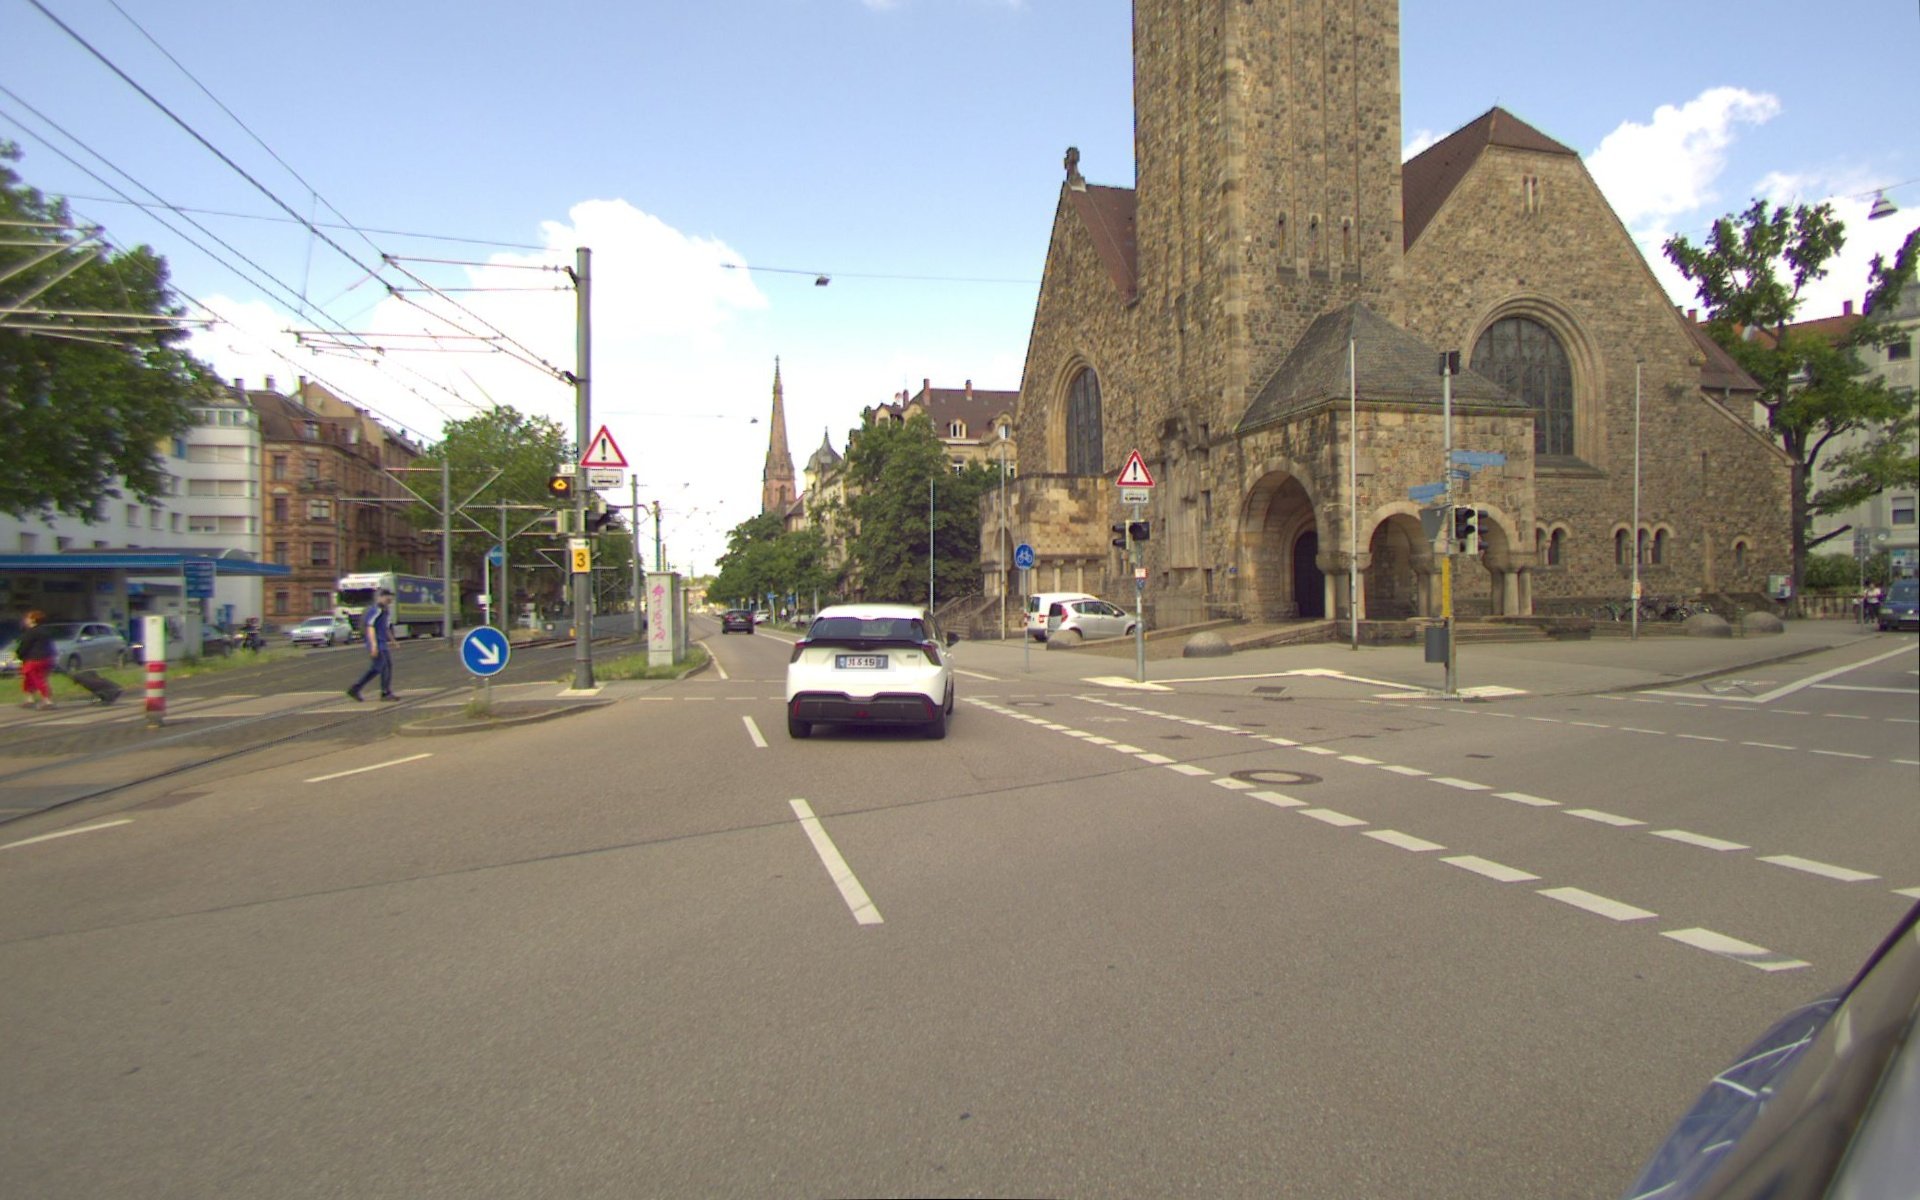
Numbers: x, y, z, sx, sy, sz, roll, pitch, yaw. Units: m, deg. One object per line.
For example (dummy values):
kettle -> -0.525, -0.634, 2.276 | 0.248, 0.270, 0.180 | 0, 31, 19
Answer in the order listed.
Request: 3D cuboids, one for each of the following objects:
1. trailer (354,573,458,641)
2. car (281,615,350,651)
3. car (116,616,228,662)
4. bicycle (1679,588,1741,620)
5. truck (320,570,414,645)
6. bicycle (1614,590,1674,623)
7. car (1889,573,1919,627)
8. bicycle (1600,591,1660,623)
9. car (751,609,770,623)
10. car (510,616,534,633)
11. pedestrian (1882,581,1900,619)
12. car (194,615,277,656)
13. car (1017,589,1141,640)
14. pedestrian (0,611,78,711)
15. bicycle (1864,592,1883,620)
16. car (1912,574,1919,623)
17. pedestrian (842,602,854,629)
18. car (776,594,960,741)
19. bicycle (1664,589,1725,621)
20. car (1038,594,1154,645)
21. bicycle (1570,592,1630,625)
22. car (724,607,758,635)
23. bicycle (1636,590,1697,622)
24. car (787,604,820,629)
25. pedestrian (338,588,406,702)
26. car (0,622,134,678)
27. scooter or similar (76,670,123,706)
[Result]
trailer -> -36.918, 0.426, 67.999 | 2.857, 4.129, 11.672 | -1, 0, -12
car -> -33.587, 1.691, 52.875 | 1.816, 1.727, 4.142 | -1, 0, -14
car -> -29.018, 1.397, 37.431 | 1.816, 1.465, 3.981 | -1, 0, -14
bicycle -> 29.163, 0.144, 39.378 | 0.574, 1.126, 1.944 | -1, 3, -19
truck -> -35.323, 0.403, 60.591 | 2.857, 4.201, 6.602 | -1, 0, -12
bicycle -> 25.997, 0.231, 38.499 | 0.574, 1.126, 1.944 | -1, 3, -19
car -> 33.905, -0.030, 35.264 | 4.071, 1.814, 1.682 | -1, -1, -39
bicycle -> 25.327, 0.250, 38.291 | 0.574, 1.126, 1.944 | -1, 3, -19
car -> -20.233, 1.624, 102.619 | 1.621, 1.249, 3.069 | -2, -1, -15
car -> -47.122, 2.593, 108.953 | 1.766, 1.651, 4.008 | -1, 0, -15
pedestrian -> 36.600, 0.001, 39.797 | 0.547, 1.474, 0.465 | 0, -1, -45
car -> -30.720, 1.472, 43.029 | 1.651, 1.583, 3.760 | -1, 0, -15
car -> 4.532, 0.581, 38.763 | 4.214, 1.878, 2.003 | 0, -2, -16
pedestrian -> -14.379, 0.928, 15.790 | 0.760, 1.511, 0.659 | 1, -2, -28
bicycle -> 36.262, 0.231, 40.153 | 0.479, 1.065, 1.420 | -2, -1, 44
car -> 37.690, -0.095, 38.453 | 3.928, 1.814, 1.682 | -1, -1, -39
pedestrian -> -6.913, 0.944, 62.379 | 0.645, 1.686, 0.847 | -1, -1, -13
car -> -0.983, 0.766, 12.751 | 1.787, 1.525, 4.127 | -1, -1, 2
bicycle -> 28.403, 0.165, 39.174 | 0.574, 1.126, 1.944 | -1, 3, -19
car -> 4.726, 0.697, 35.280 | 3.561, 1.700, 1.822 | 0, -2, -18
bicycle -> 23.870, 0.291, 37.782 | 0.574, 1.126, 1.944 | -1, 3, -19
car -> -13.100, 1.227, 60.456 | 1.747, 1.554, 4.394 | 0, -1, -15
bicycle -> 26.971, 0.205, 38.652 | 0.574, 1.126, 1.944 | -1, 3, -19
car -> -10.457, 1.094, 67.422 | 1.752, 1.514, 3.844 | -2, -1, -15
pedestrian -> -9.392, 0.701, 16.189 | 0.756, 1.753, 0.745 | -1, -1, -16
car -> -27.079, 1.456, 30.525 | 1.698, 1.484, 4.335 | -1, 0, -15
scooter or similar -> -13.827, 1.404, 16.274 | 0.511, 0.542, 0.311 | 1, -2, -28
